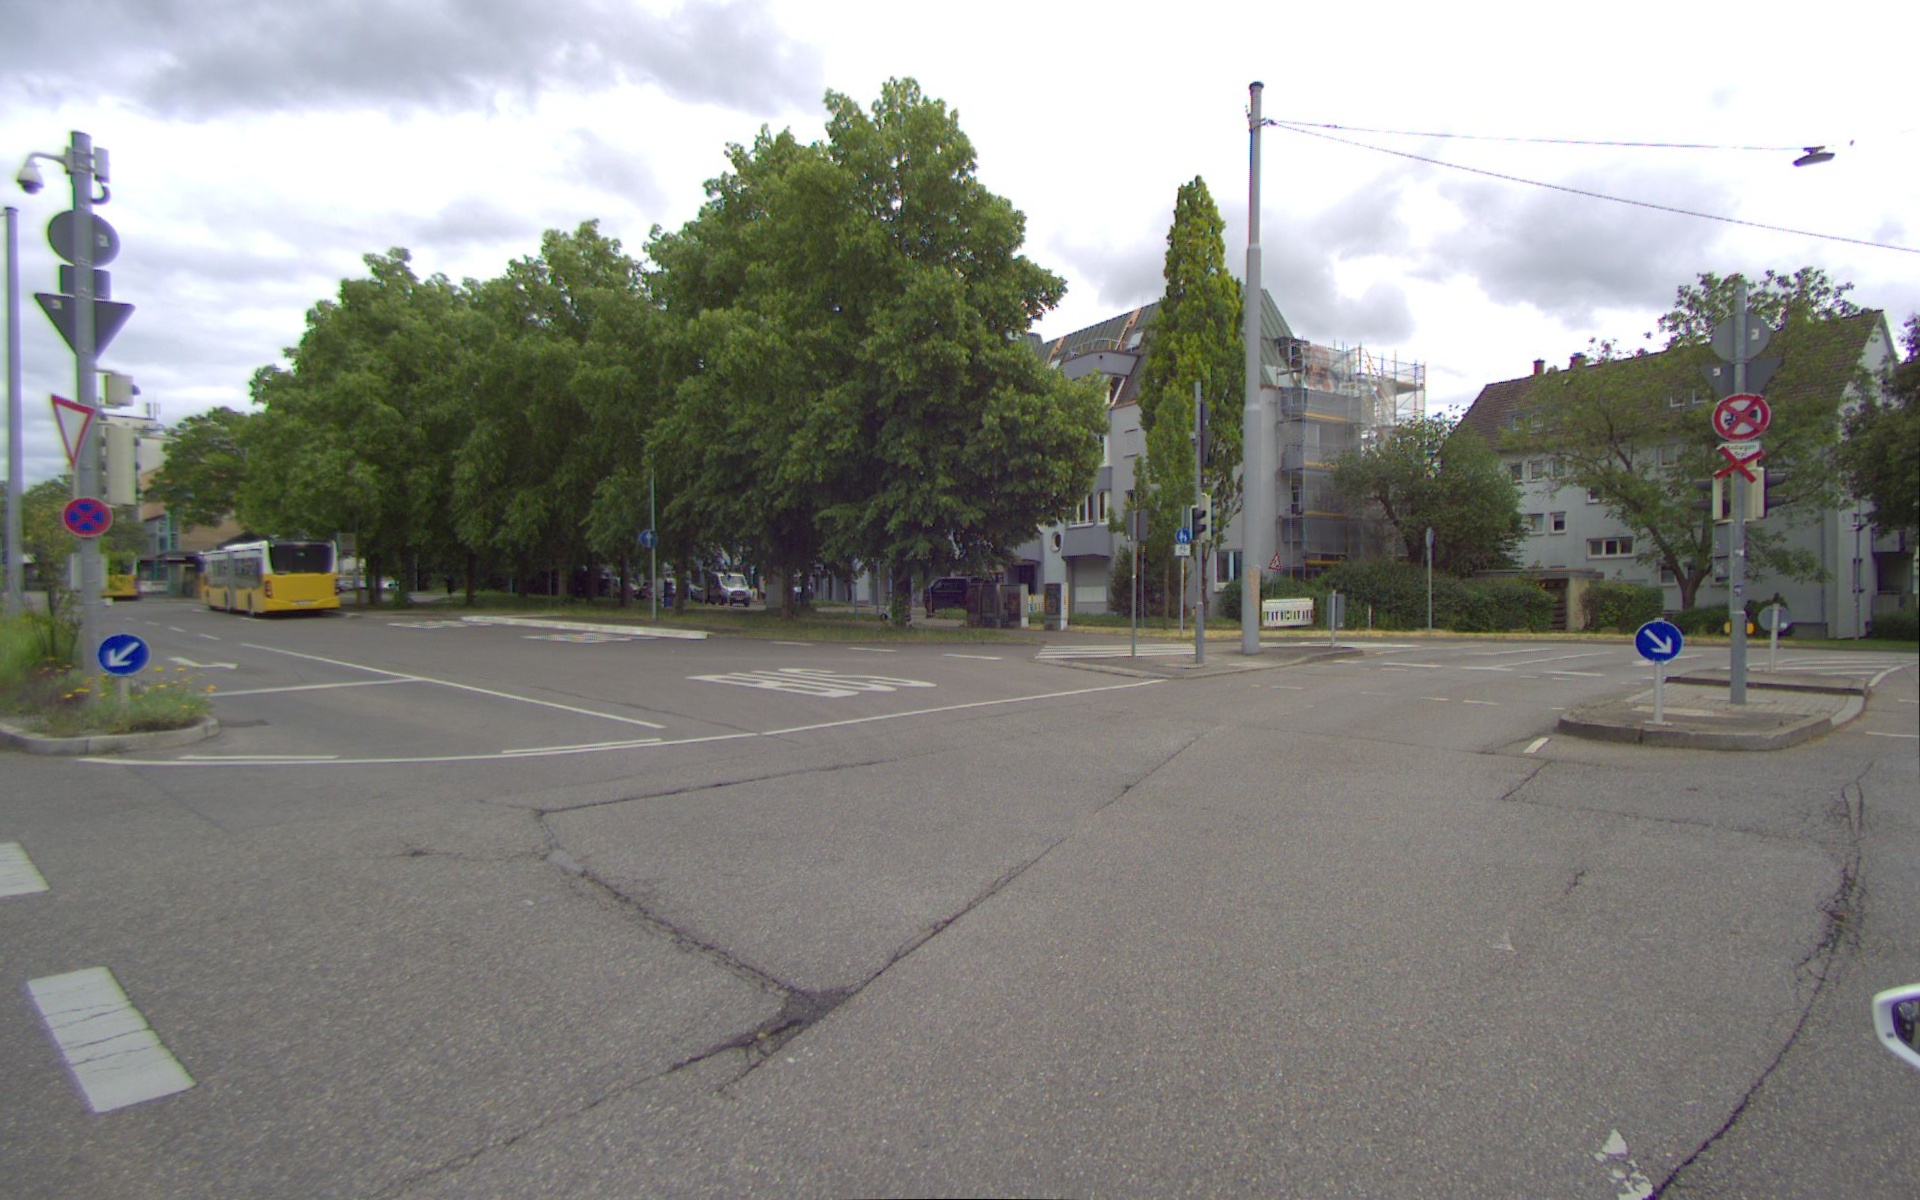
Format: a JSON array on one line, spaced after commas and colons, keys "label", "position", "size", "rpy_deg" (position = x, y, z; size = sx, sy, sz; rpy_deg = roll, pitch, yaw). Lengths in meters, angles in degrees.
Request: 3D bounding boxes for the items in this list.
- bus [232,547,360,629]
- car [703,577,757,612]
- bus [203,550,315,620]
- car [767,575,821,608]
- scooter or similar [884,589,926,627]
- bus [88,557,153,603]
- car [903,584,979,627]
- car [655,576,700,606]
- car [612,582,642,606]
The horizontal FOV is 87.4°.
[{"label": "bus", "position": [-27.406, -0.567, 41.271], "size": [3.032, 3.050, 8.321], "rpy_deg": [-2, 3, -43]}, {"label": "car", "position": [-15.352, -0.434, 66.927], "size": [2.193, 2.145, 5.266], "rpy_deg": [-1, 2, -28]}, {"label": "bus", "position": [-33.501, -0.792, 47.814], "size": [3.032, 3.050, 9.572], "rpy_deg": [-2, 3, -43]}, {"label": "car", "position": [-12.204, -0.675, 73.525], "size": [2.289, 2.285, 5.451], "rpy_deg": [-1, 2, -28]}, {"label": "scooter or similar", "position": [-2.170, 0.313, 39.418], "size": [1.560, 1.465, 0.556], "rpy_deg": [1, 2, 12]}, {"label": "bus", "position": [-59.539, -1.488, 71.192], "size": [3.270, 3.050, 10.108], "rpy_deg": [-2, 3, -41]}, {"label": "car", "position": [-0.858, 0.229, 42.054], "size": [1.627, 1.691, 3.922], "rpy_deg": [1, 0, -27]}, {"label": "car", "position": [-21.829, -0.746, 77.476], "size": [2.289, 2.120, 5.451], "rpy_deg": [-1, 2, -28]}, {"label": "car", "position": [-28.936, -0.541, 87.146], "size": [1.973, 1.965, 4.562], "rpy_deg": [-1, 2, -25]}]
